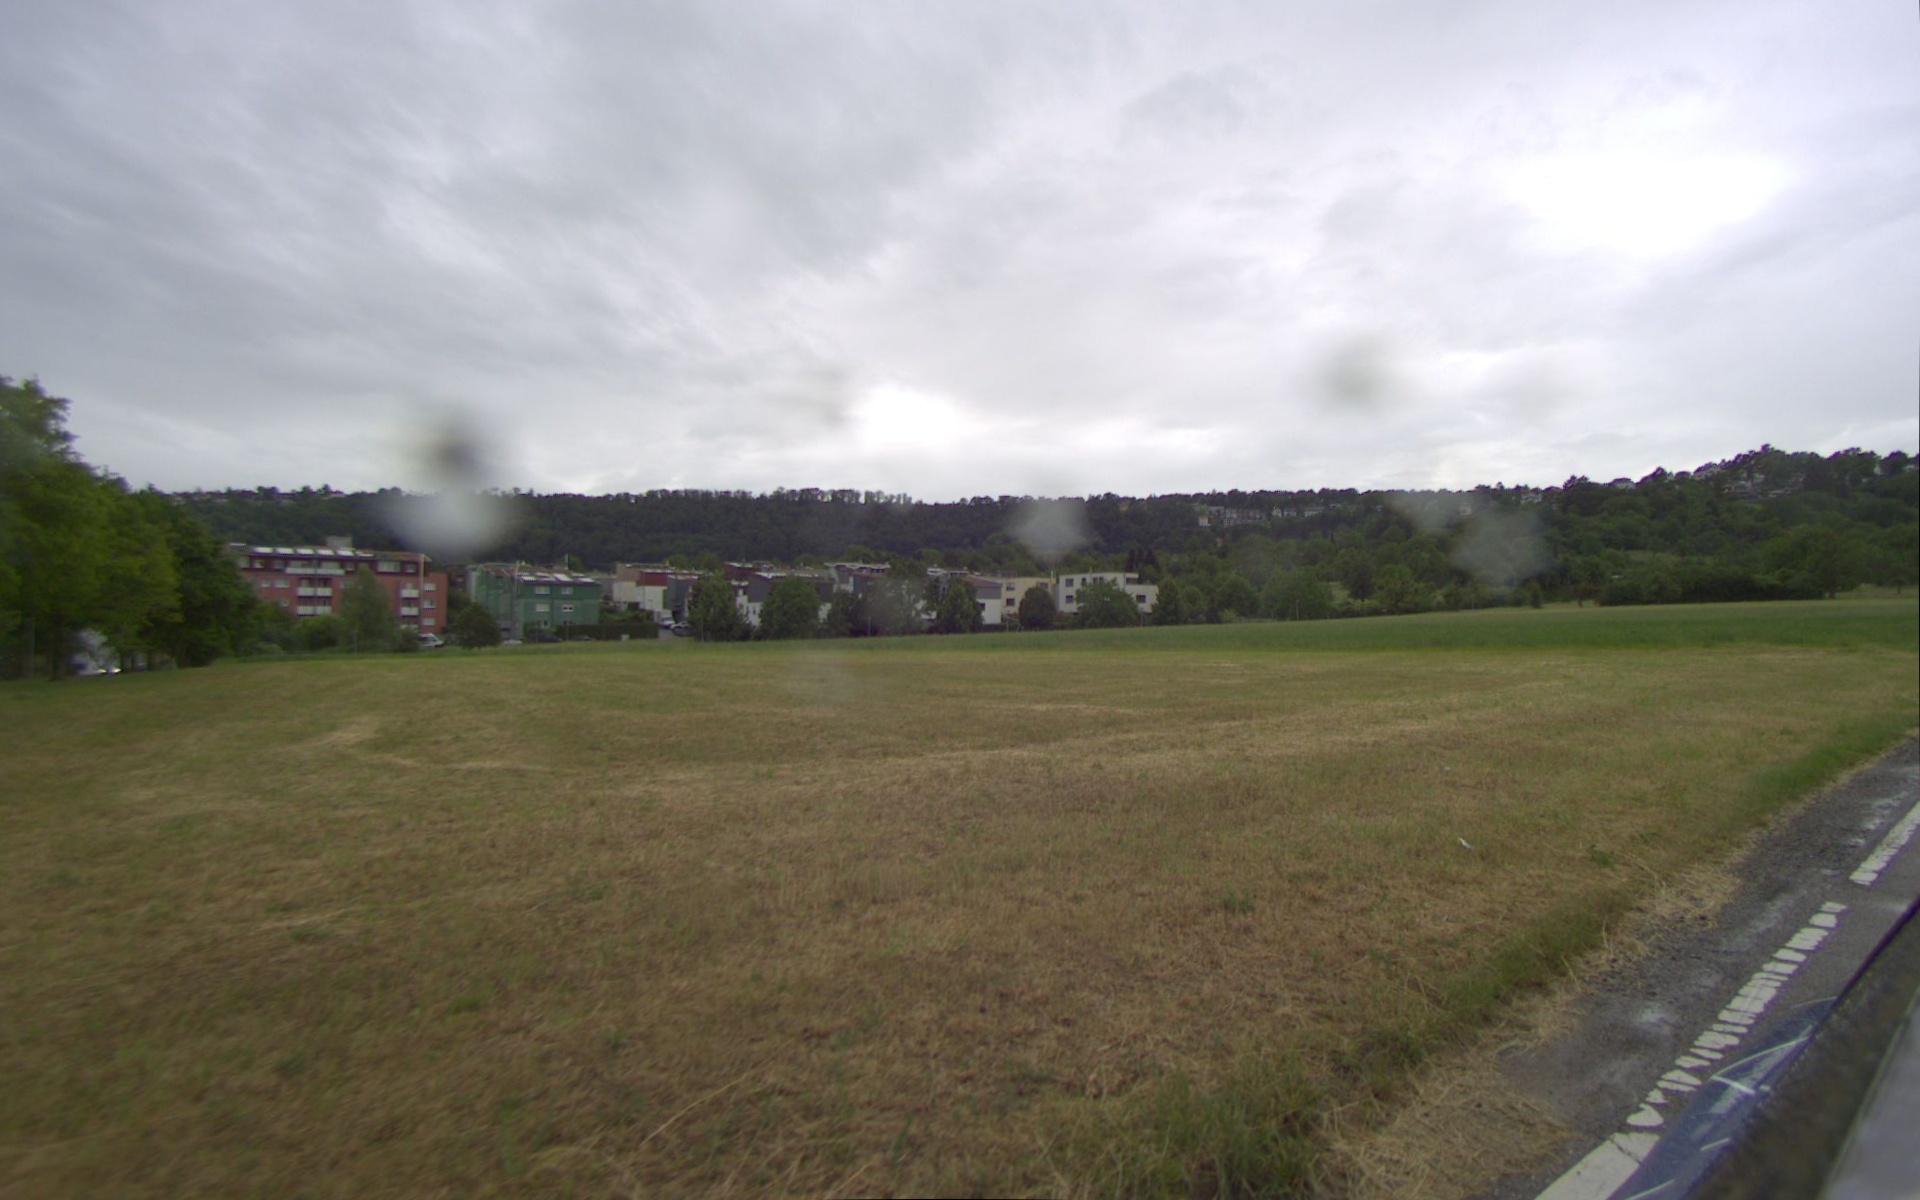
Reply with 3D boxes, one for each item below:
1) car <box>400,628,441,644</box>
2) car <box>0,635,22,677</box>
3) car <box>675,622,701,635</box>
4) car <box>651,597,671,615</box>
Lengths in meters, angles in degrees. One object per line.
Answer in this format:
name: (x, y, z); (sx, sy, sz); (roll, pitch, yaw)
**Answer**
car: (-78.902, 5.282, 147.947); (5.177, 2.039, 2.001); (-2, 1, -32)
car: (-38.192, 2.219, 39.131); (1.923, 1.628, 4.002); (-1, -3, -30)
car: (-46.722, 4.816, 173.723); (3.925, 2.039, 2.000); (-1, 0, -36)
car: (-55.143, 1.103, 186.322); (2.099, 3.265, 5.090); (-2, 1, -33)
